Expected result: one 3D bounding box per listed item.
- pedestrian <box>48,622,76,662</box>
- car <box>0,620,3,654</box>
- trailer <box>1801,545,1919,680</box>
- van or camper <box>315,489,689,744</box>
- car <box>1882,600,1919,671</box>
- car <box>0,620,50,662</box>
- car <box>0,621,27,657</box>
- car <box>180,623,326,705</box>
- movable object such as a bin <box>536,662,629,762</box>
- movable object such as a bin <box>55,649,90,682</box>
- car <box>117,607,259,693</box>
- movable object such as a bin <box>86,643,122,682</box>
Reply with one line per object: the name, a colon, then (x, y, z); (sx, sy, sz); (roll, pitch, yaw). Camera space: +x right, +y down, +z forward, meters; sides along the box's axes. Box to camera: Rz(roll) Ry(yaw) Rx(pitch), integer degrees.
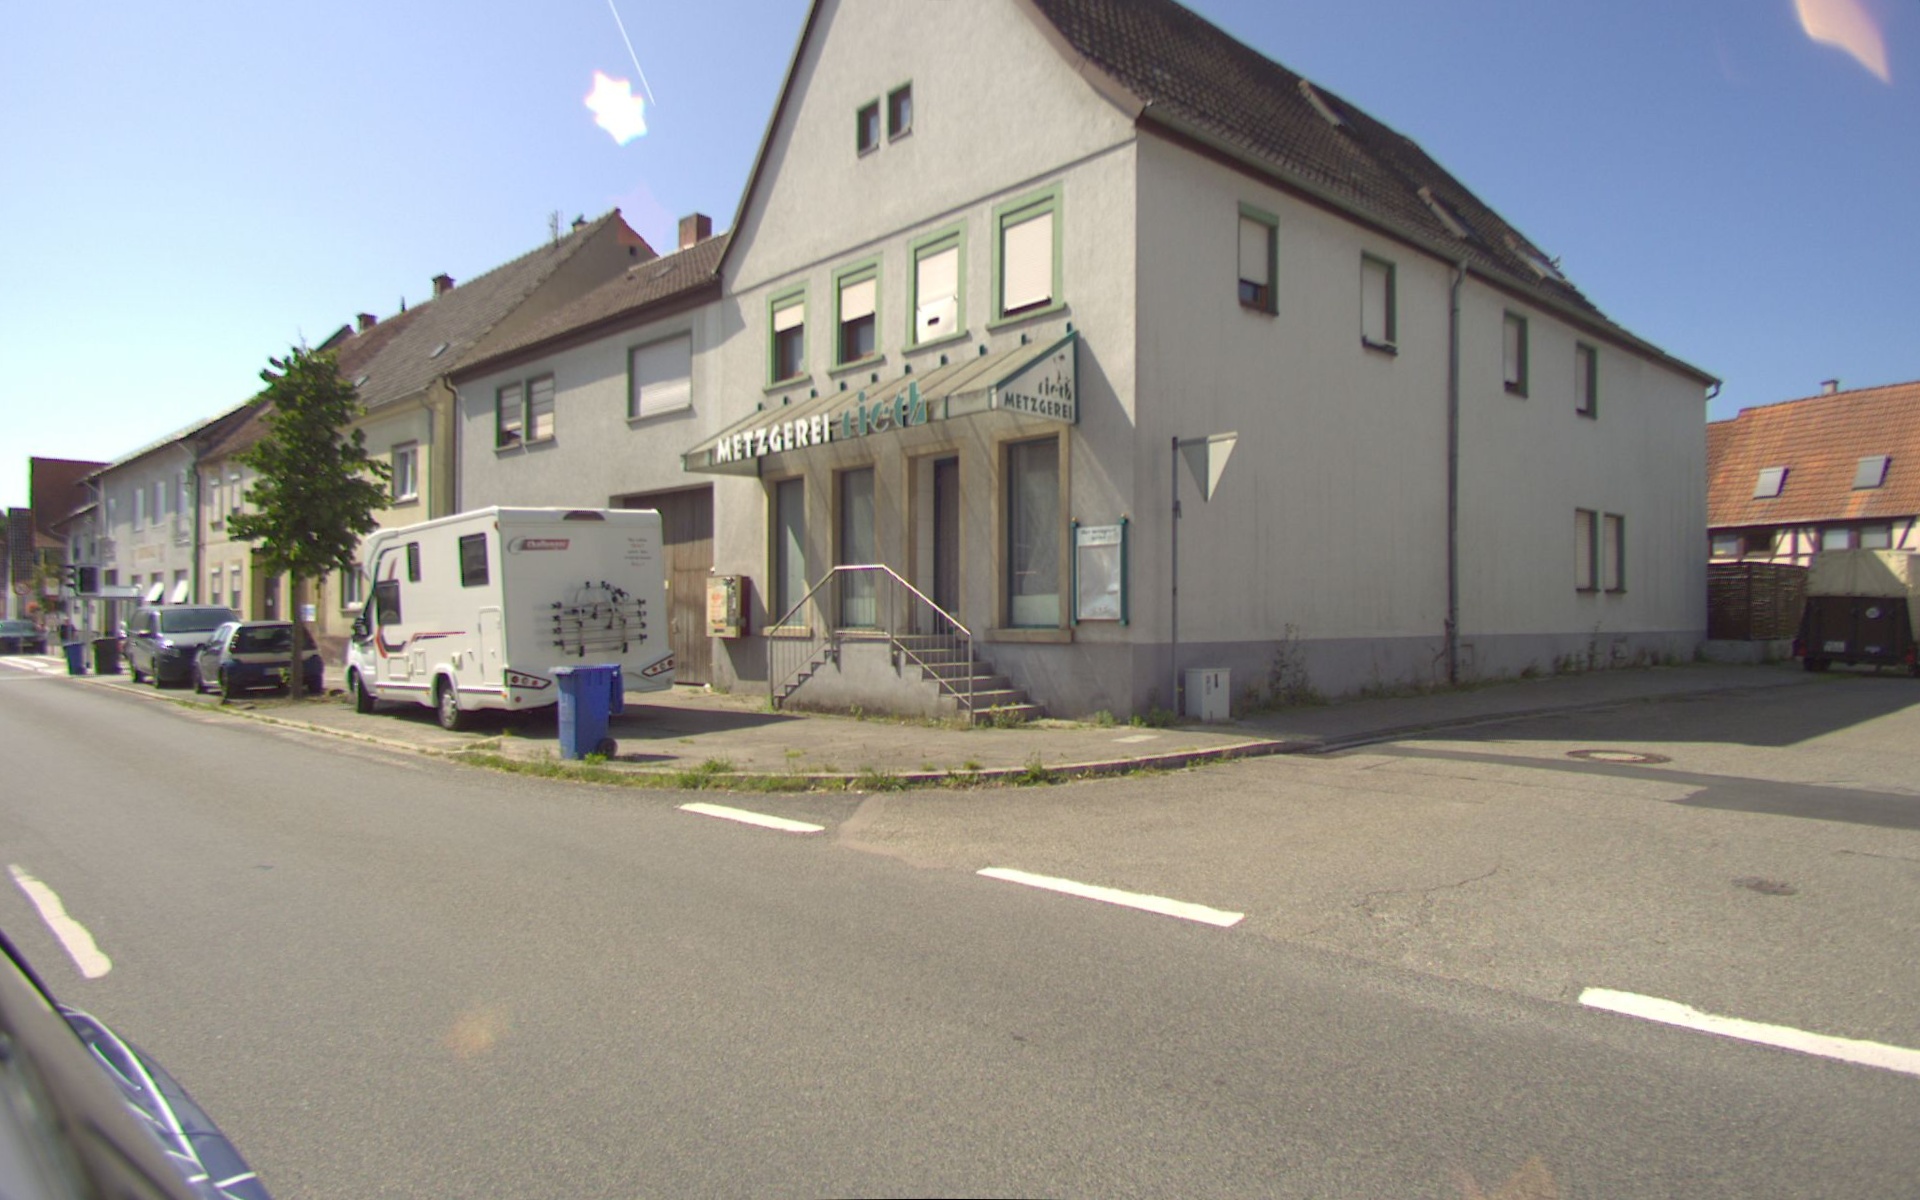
pedestrian: (-35.296, 1.658, 39.791); (0.580, 1.543, 0.743); (-2, -1, 40)
car: (-55.075, 2.070, 56.606); (4.957, 1.862, 1.971); (-2, -2, 43)
trailer: (20.194, 0.255, 21.954); (3.934, 2.693, 2.063); (0, 0, -35)
van or camper: (-7.020, 0.260, 14.906); (7.065, 2.927, 2.419); (-2, -1, 42)
car: (24.931, 0.853, 25.204); (3.933, 1.697, 2.005); (0, -1, -34)
car: (-43.762, 1.880, 46.659); (4.957, 1.862, 2.324); (-2, -2, 43)
car: (-50.848, 2.051, 53.455); (4.957, 1.862, 1.971); (-2, -2, 43)
car: (-14.481, 1.242, 20.661); (3.617, 1.493, 1.667); (-2, -1, 42)
movable object such as a bin: (-3.663, 1.063, 9.820); (0.613, 0.878, 0.636); (-2, -1, 41)
movable object such as a bin: (-26.005, 1.901, 29.661); (0.550, 0.919, 0.709); (-2, -1, 39)
car: (-18.659, 1.140, 24.376); (4.957, 1.862, 1.971); (-2, -1, 43)
movable object such as a bin: (-24.660, 1.787, 29.169); (0.550, 1.075, 0.709); (-2, -1, 39)
